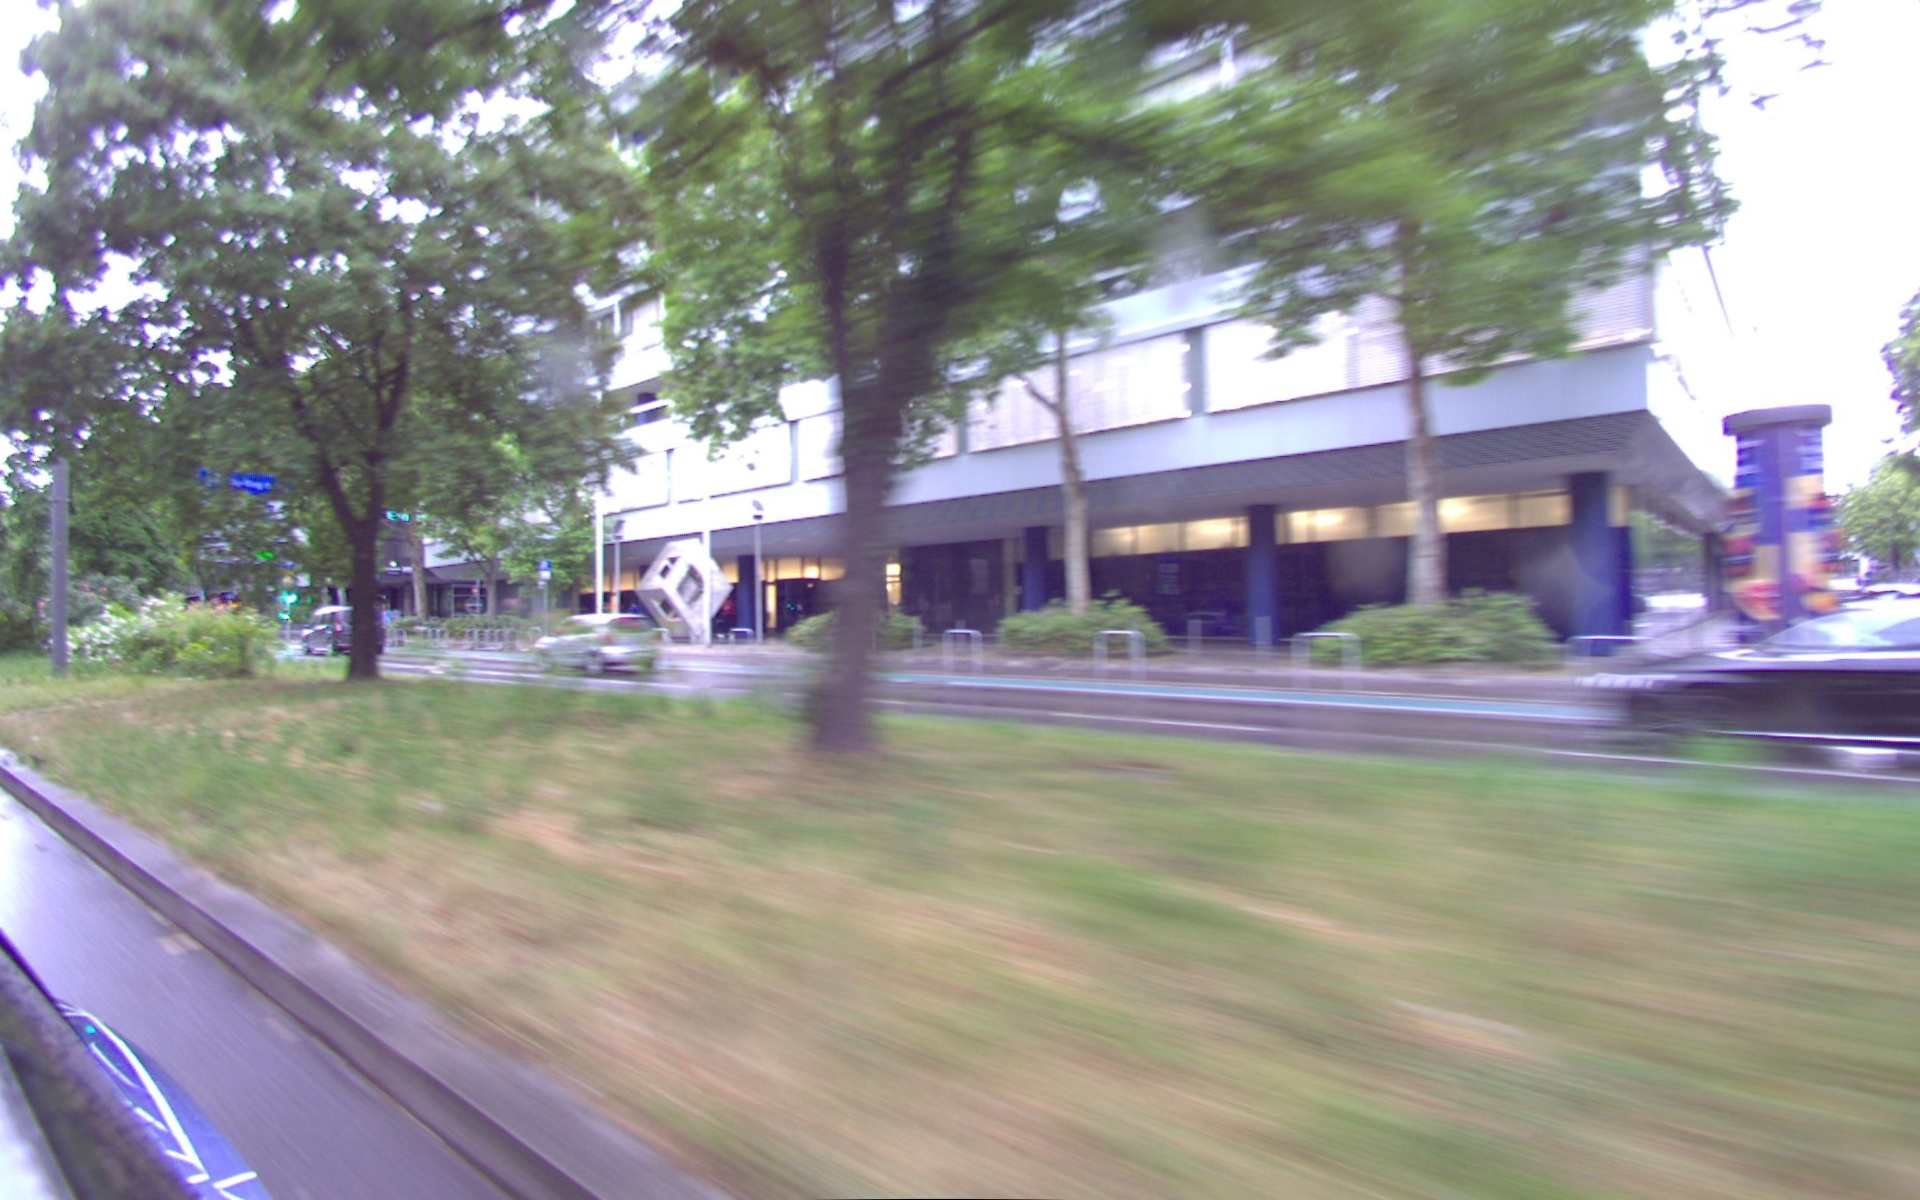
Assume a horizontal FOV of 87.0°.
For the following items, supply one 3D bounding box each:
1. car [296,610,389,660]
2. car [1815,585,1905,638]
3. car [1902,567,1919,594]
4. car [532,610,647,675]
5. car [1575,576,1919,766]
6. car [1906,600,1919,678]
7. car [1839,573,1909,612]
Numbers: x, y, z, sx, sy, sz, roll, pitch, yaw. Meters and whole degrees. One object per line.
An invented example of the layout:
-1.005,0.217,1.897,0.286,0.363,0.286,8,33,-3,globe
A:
-23.368,1.306,38.264,4.282,1.815,1.971,-2,-2,44,car
28.873,0.387,32.510,1.999,1.553,4.935,-2,-2,41,car
58.839,-1.197,61.715,1.702,1.581,3.807,-1,1,38,car
-9.127,1.022,24.797,3.560,1.473,1.148,-2,-2,43,car
8.506,0.576,9.168,4.752,1.503,1.974,-2,1,40,car
23.087,0.820,23.060,1.999,1.705,4.935,-4,-3,41,car
42.175,-0.355,46.763,1.997,1.696,3.950,-2,-1,37,car
